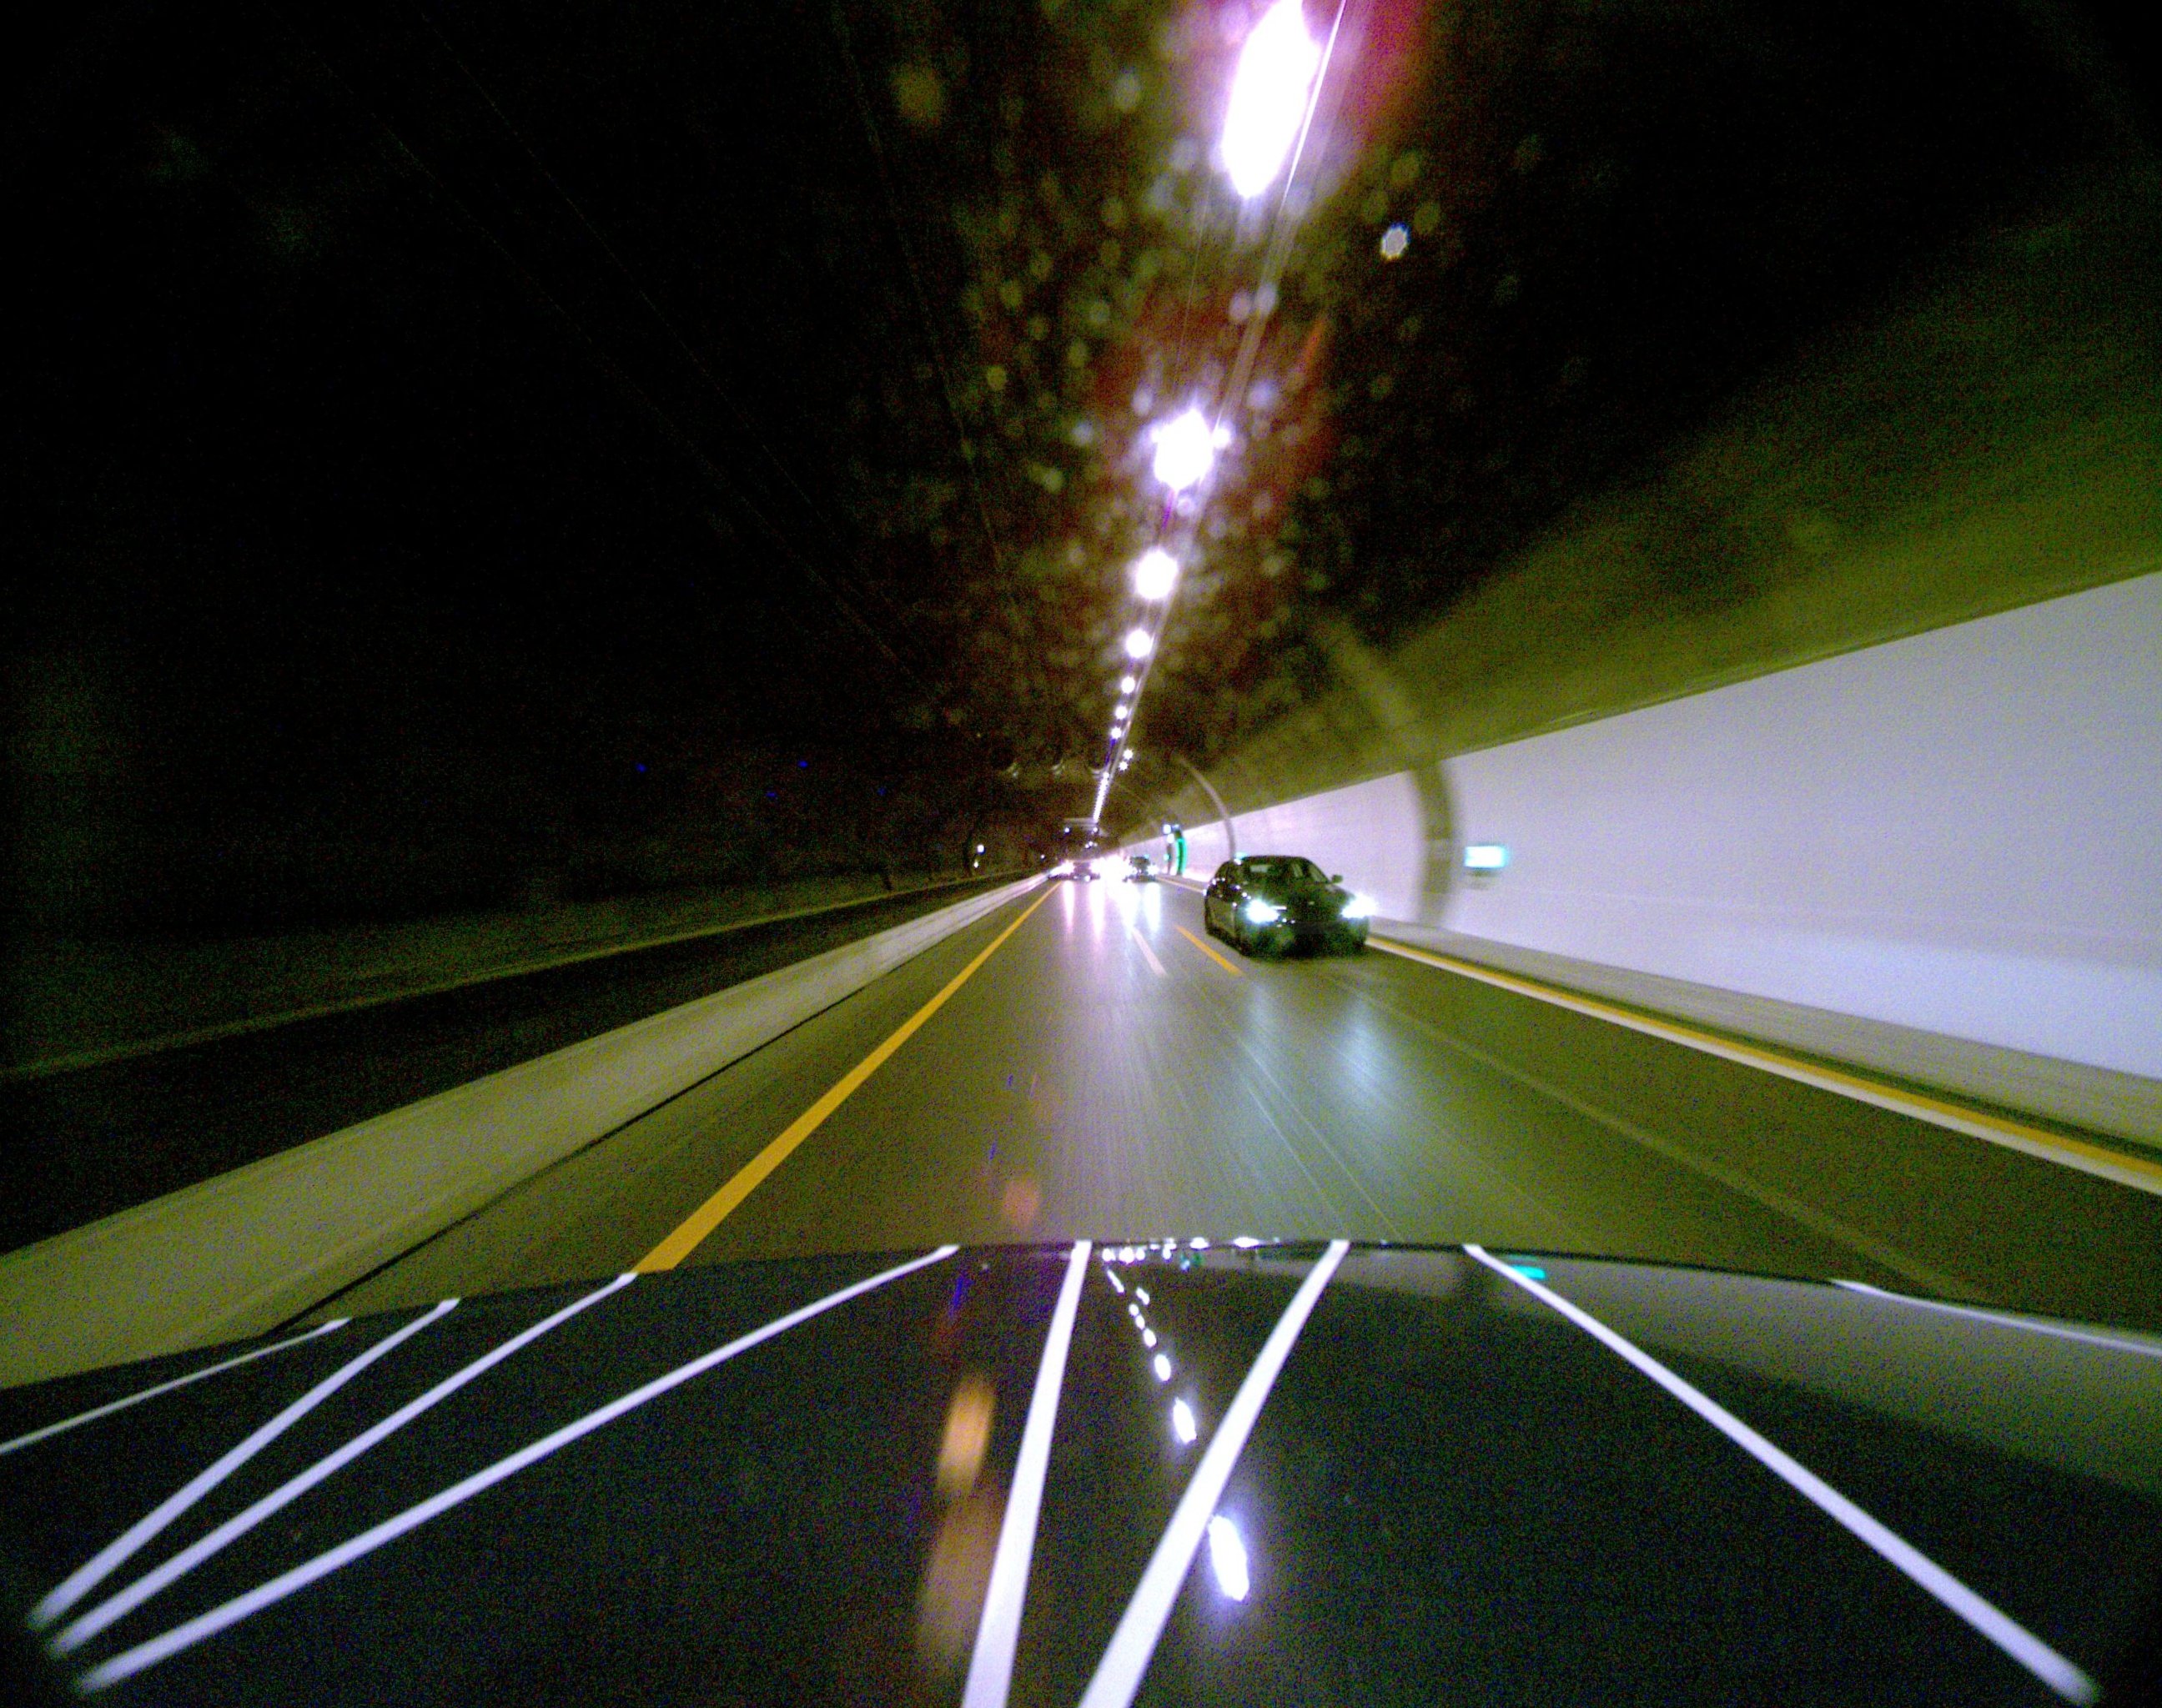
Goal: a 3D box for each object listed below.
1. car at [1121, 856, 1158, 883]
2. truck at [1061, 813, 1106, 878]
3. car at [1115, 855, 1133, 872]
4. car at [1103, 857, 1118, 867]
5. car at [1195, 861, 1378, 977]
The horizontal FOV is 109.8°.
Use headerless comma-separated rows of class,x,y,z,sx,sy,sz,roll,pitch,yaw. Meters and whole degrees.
car,3.427,0.870,44.952,1.782,1.430,4.882,-2,0,0
truck,0.301,-0.580,53.685,2.741,4.127,8.101,-2,0,3
car,3.945,0.851,69.704,1.531,1.508,2.652,-2,0,2
car,4.231,1.147,109.890,1.909,1.412,4.060,-2,0,-1
car,3.134,0.906,12.681,1.782,1.430,4.882,-2,0,1
